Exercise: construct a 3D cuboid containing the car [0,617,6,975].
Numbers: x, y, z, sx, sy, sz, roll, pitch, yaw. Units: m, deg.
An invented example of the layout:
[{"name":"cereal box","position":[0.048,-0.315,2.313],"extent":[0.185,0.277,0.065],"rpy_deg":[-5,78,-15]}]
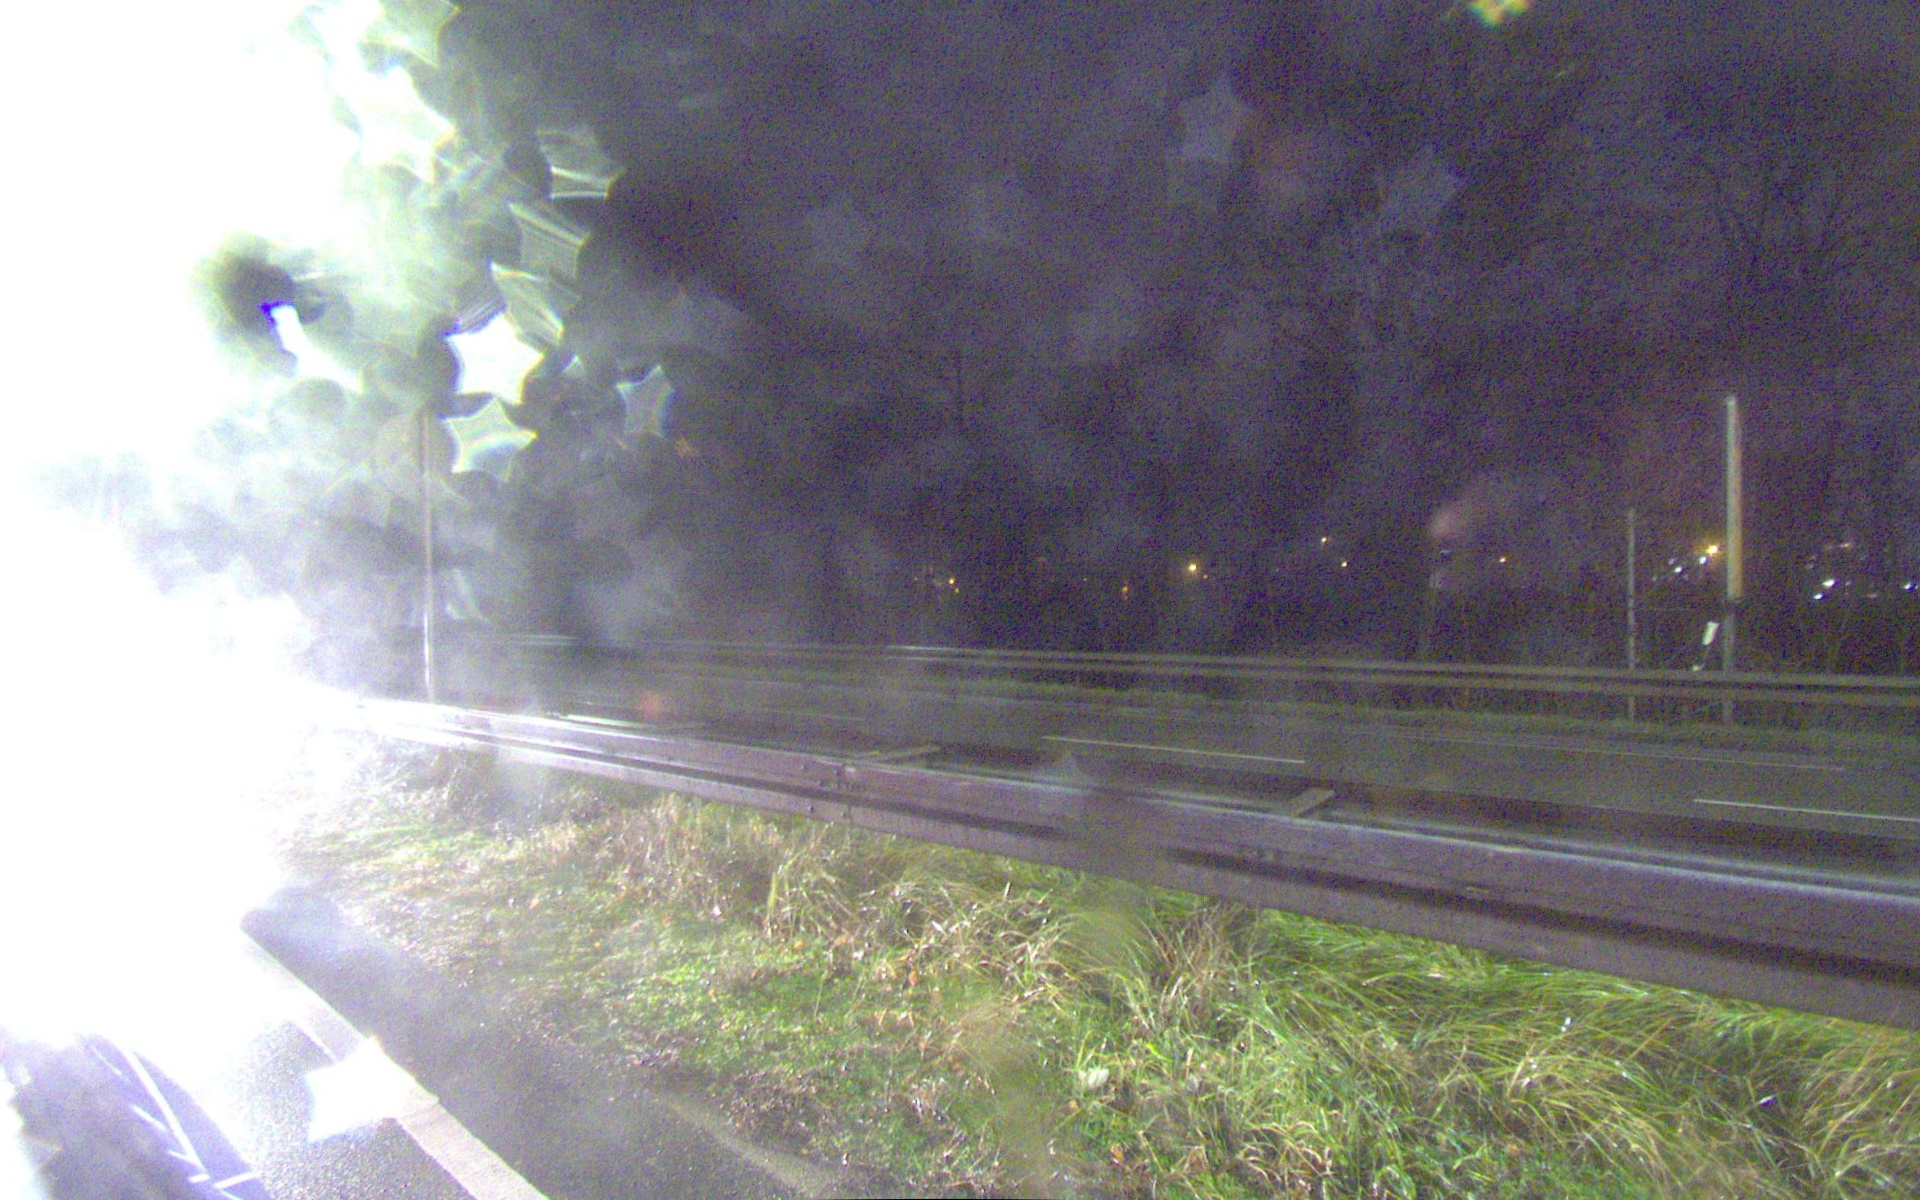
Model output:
[{"name":"car","position":[-5.599,0.806,4.632],"extent":[3.388,1.435,1.478],"rpy_deg":[-1,-1,41]}]
